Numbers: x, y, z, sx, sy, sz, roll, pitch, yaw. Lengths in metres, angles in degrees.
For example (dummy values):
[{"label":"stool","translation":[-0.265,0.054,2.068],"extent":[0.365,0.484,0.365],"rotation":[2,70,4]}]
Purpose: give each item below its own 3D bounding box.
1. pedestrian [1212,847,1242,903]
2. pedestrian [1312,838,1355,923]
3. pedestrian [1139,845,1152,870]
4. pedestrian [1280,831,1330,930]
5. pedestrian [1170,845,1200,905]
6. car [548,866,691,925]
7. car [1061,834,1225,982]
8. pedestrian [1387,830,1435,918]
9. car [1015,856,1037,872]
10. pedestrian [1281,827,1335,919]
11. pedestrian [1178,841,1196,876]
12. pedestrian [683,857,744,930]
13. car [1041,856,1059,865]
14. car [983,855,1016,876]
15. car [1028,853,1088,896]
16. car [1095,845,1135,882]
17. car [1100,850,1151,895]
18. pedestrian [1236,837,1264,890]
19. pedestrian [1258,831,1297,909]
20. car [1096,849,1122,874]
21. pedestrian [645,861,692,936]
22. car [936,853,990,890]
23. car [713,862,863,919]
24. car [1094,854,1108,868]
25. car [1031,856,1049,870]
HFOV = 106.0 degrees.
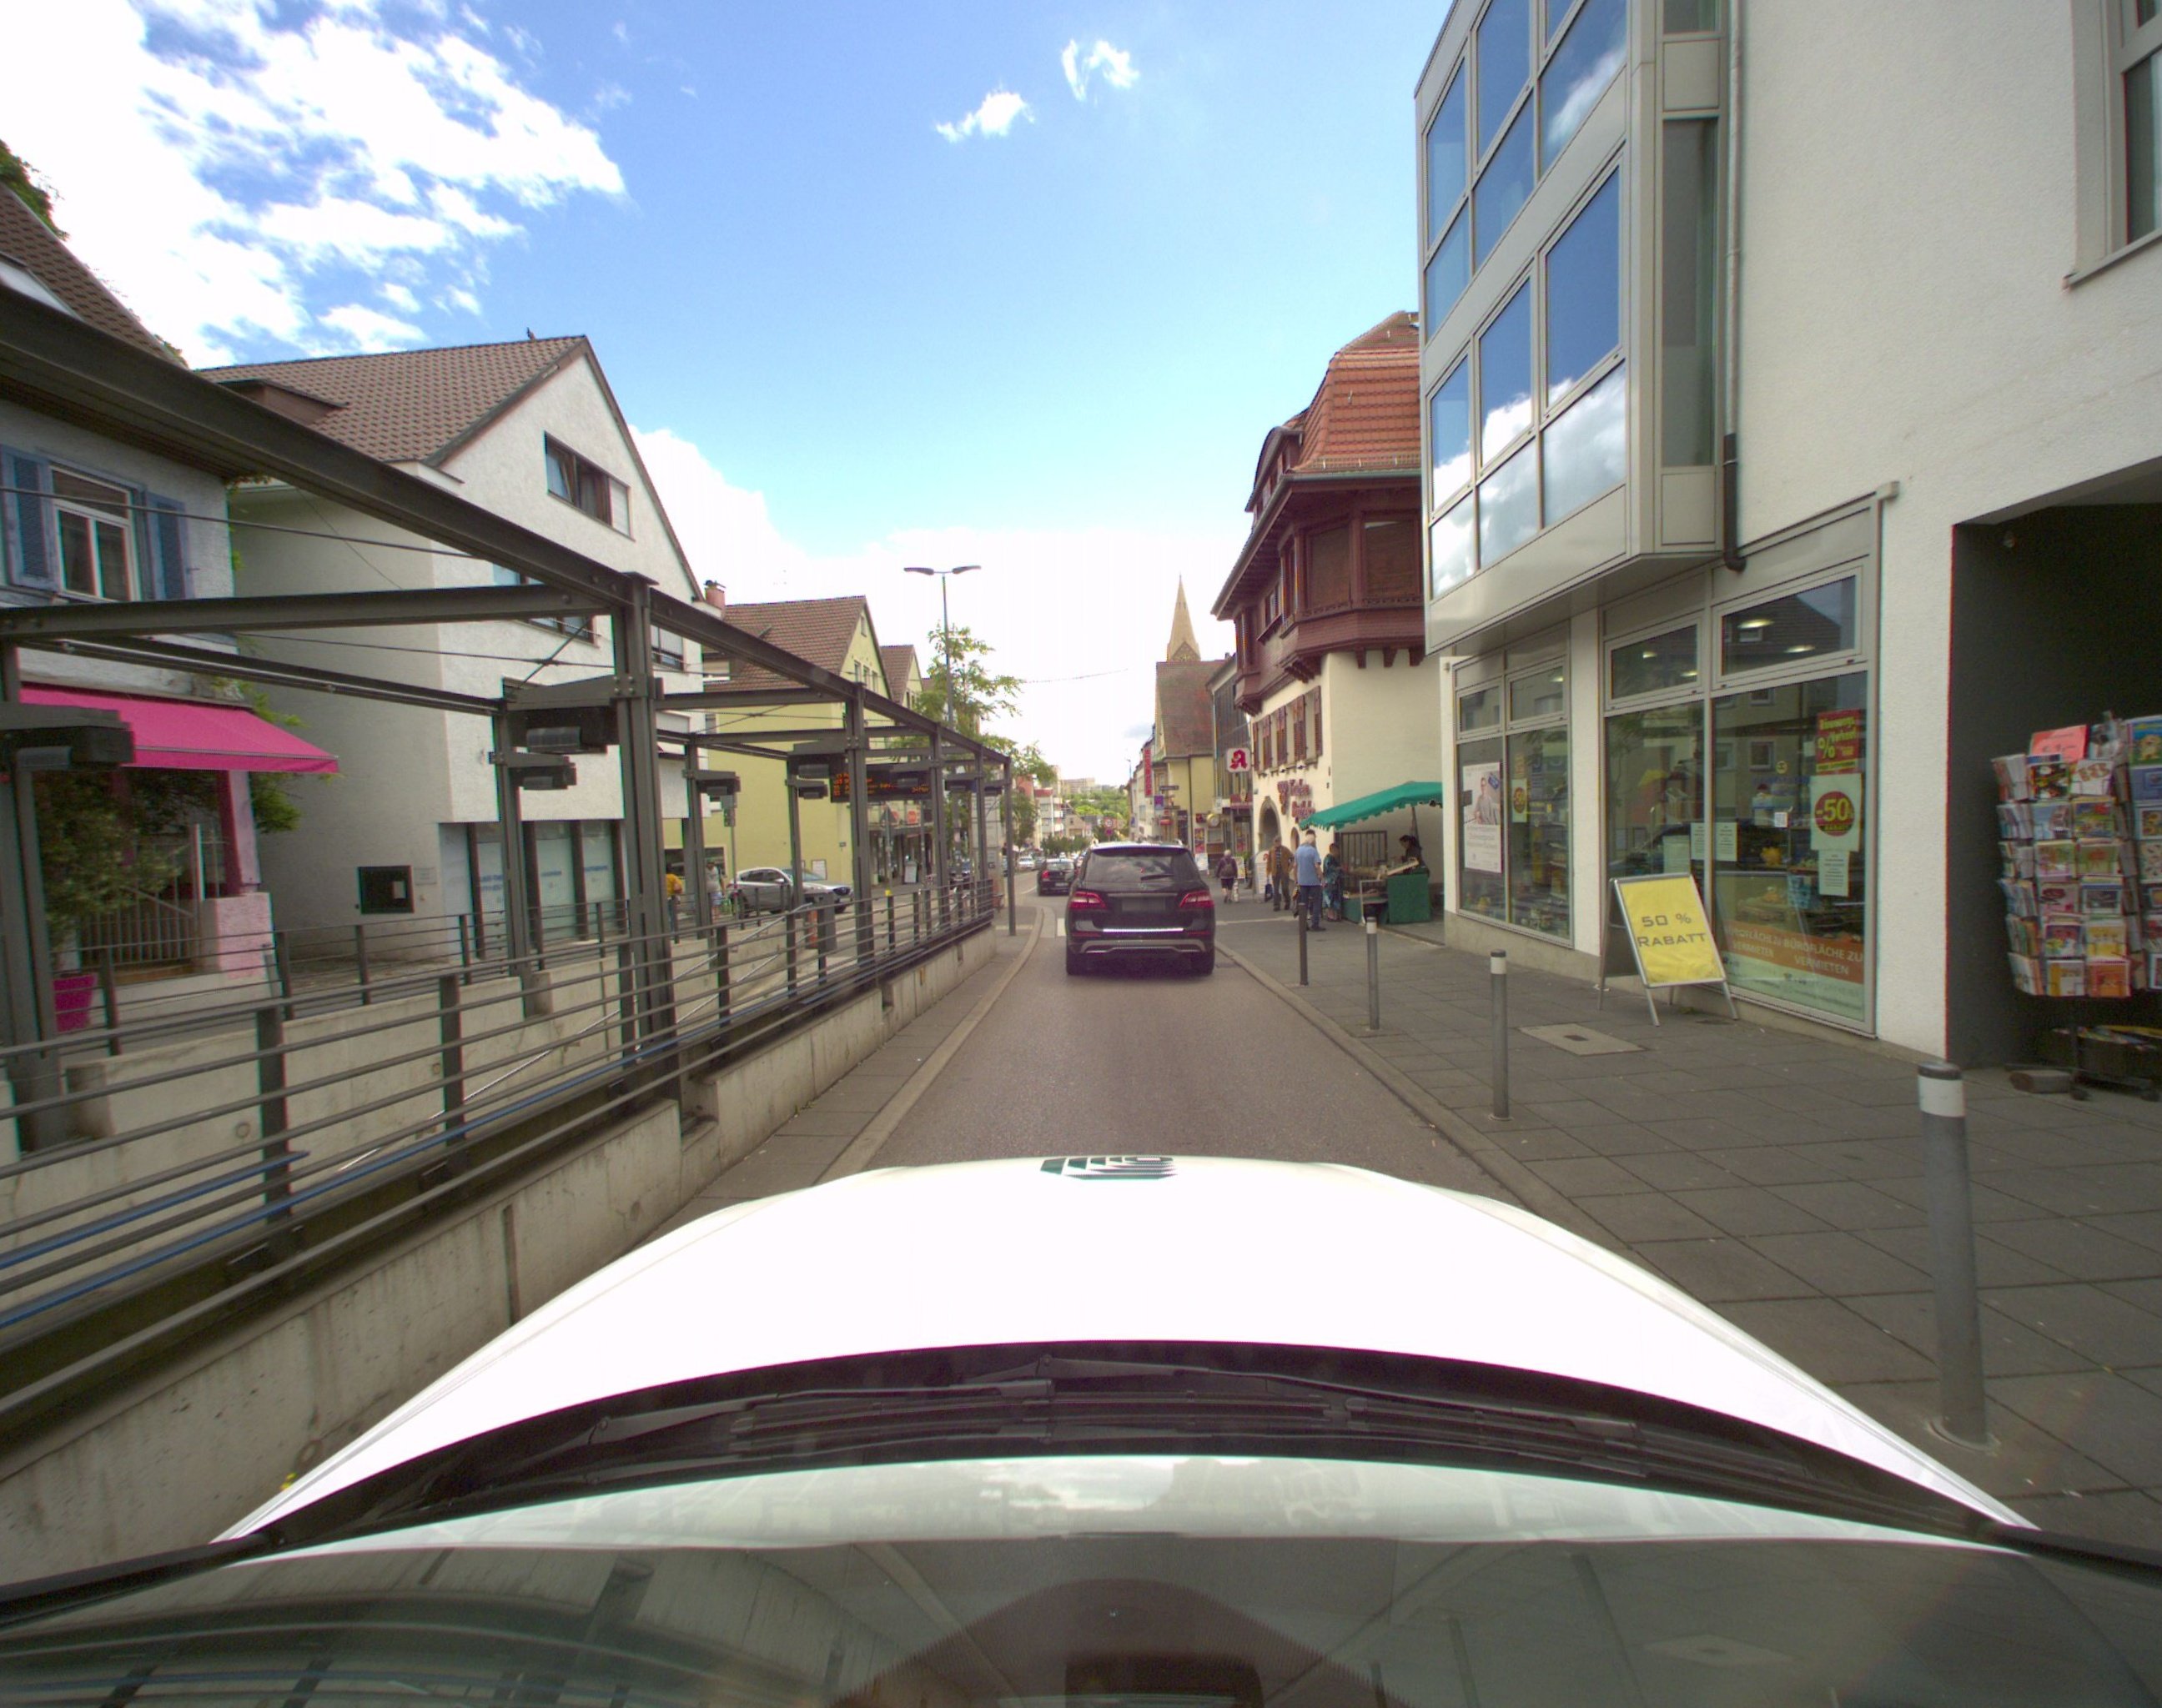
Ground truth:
[{"label":"pedestrian","translation":[4.120,0.585,23.039],"extent":[0.720,1.531,0.809],"rotation":[-2,0,7]},{"label":"pedestrian","translation":[4.947,0.513,15.982],"extent":[0.620,1.612,0.704],"rotation":[-2,0,6]},{"label":"pedestrian","translation":[4.640,0.232,58.735],"extent":[0.793,1.727,1.053],"rotation":[-3,0,1]},{"label":"pedestrian","translation":[4.120,0.485,14.960],"extent":[0.694,1.767,0.629],"rotation":[-3,0,27]},{"label":"pedestrian","translation":[2.965,0.580,23.232],"extent":[0.768,1.645,0.872],"rotation":[-2,0,7]},{"label":"car","translation":[-18.038,1.599,31.951],"extent":[4.318,1.805,2.004],"rotation":[-5,3,5]},{"label":"car","translation":[0.804,0.636,11.789],"extent":[1.936,1.740,4.180],"rotation":[-1,0,2]},{"label":"pedestrian","translation":[6.264,0.374,15.476],"extent":[0.620,1.612,0.704],"rotation":[-2,0,6]},{"label":"car","translation":[-5.484,1.013,82.268],"extent":[1.920,1.511,4.261],"rotation":[0,0,0]},{"label":"pedestrian","translation":[4.715,0.389,16.917],"extent":[0.771,1.857,0.707],"rotation":[-3,0,44]},{"label":"pedestrian","translation":[5.471,0.225,41.936],"extent":[0.859,1.707,0.947],"rotation":[-2,0,7]},{"label":"pedestrian","translation":[-9.464,0.999,20.993],"extent":[0.909,1.787,0.992],"rotation":[-3,0,17]},{"label":"car","translation":[-7.457,1.555,196.015],"extent":[3.978,1.750,1.998],"rotation":[-4,-1,-3]},{"label":"car","translation":[-5.920,0.794,59.552],"extent":[1.920,1.492,4.842],"rotation":[0,0,0]},{"label":"car","translation":[-0.967,0.789,32.583],"extent":[1.786,1.540,3.730],"rotation":[-2,0,-11]},{"label":"car","translation":[1.874,0.458,43.273],"extent":[1.868,1.799,4.738],"rotation":[-2,0,5]},{"label":"car","translation":[1.693,0.682,31.751],"extent":[1.796,1.555,3.955],"rotation":[-3,0,2]},{"label":"pedestrian","translation":[5.806,0.331,28.020],"extent":[0.771,1.769,0.818],"rotation":[-2,0,2]},{"label":"pedestrian","translation":[4.707,0.383,19.562],"extent":[0.782,1.801,0.677],"rotation":[-2,0,7]},{"label":"car","translation":[2.015,0.505,58.777],"extent":[1.742,1.607,3.802],"rotation":[-4,0,2]},{"label":"pedestrian","translation":[-10.040,1.060,19.844],"extent":[0.635,1.738,0.835],"rotation":[-4,0,-1]},{"label":"car","translation":[-6.016,0.864,41.958],"extent":[2.000,1.693,4.608],"rotation":[-1,1,1]},{"label":"car","translation":[-9.567,1.235,26.665],"extent":[4.306,1.621,1.978],"rotation":[-3,-4,18]},{"label":"car","translation":[3.108,1.068,126.835],"extent":[1.931,1.891,4.707],"rotation":[-4,0,1]},{"label":"car","translation":[-4.967,1.158,99.530],"extent":[1.920,1.621,4.638],"rotation":[-1,-1,0]}]
